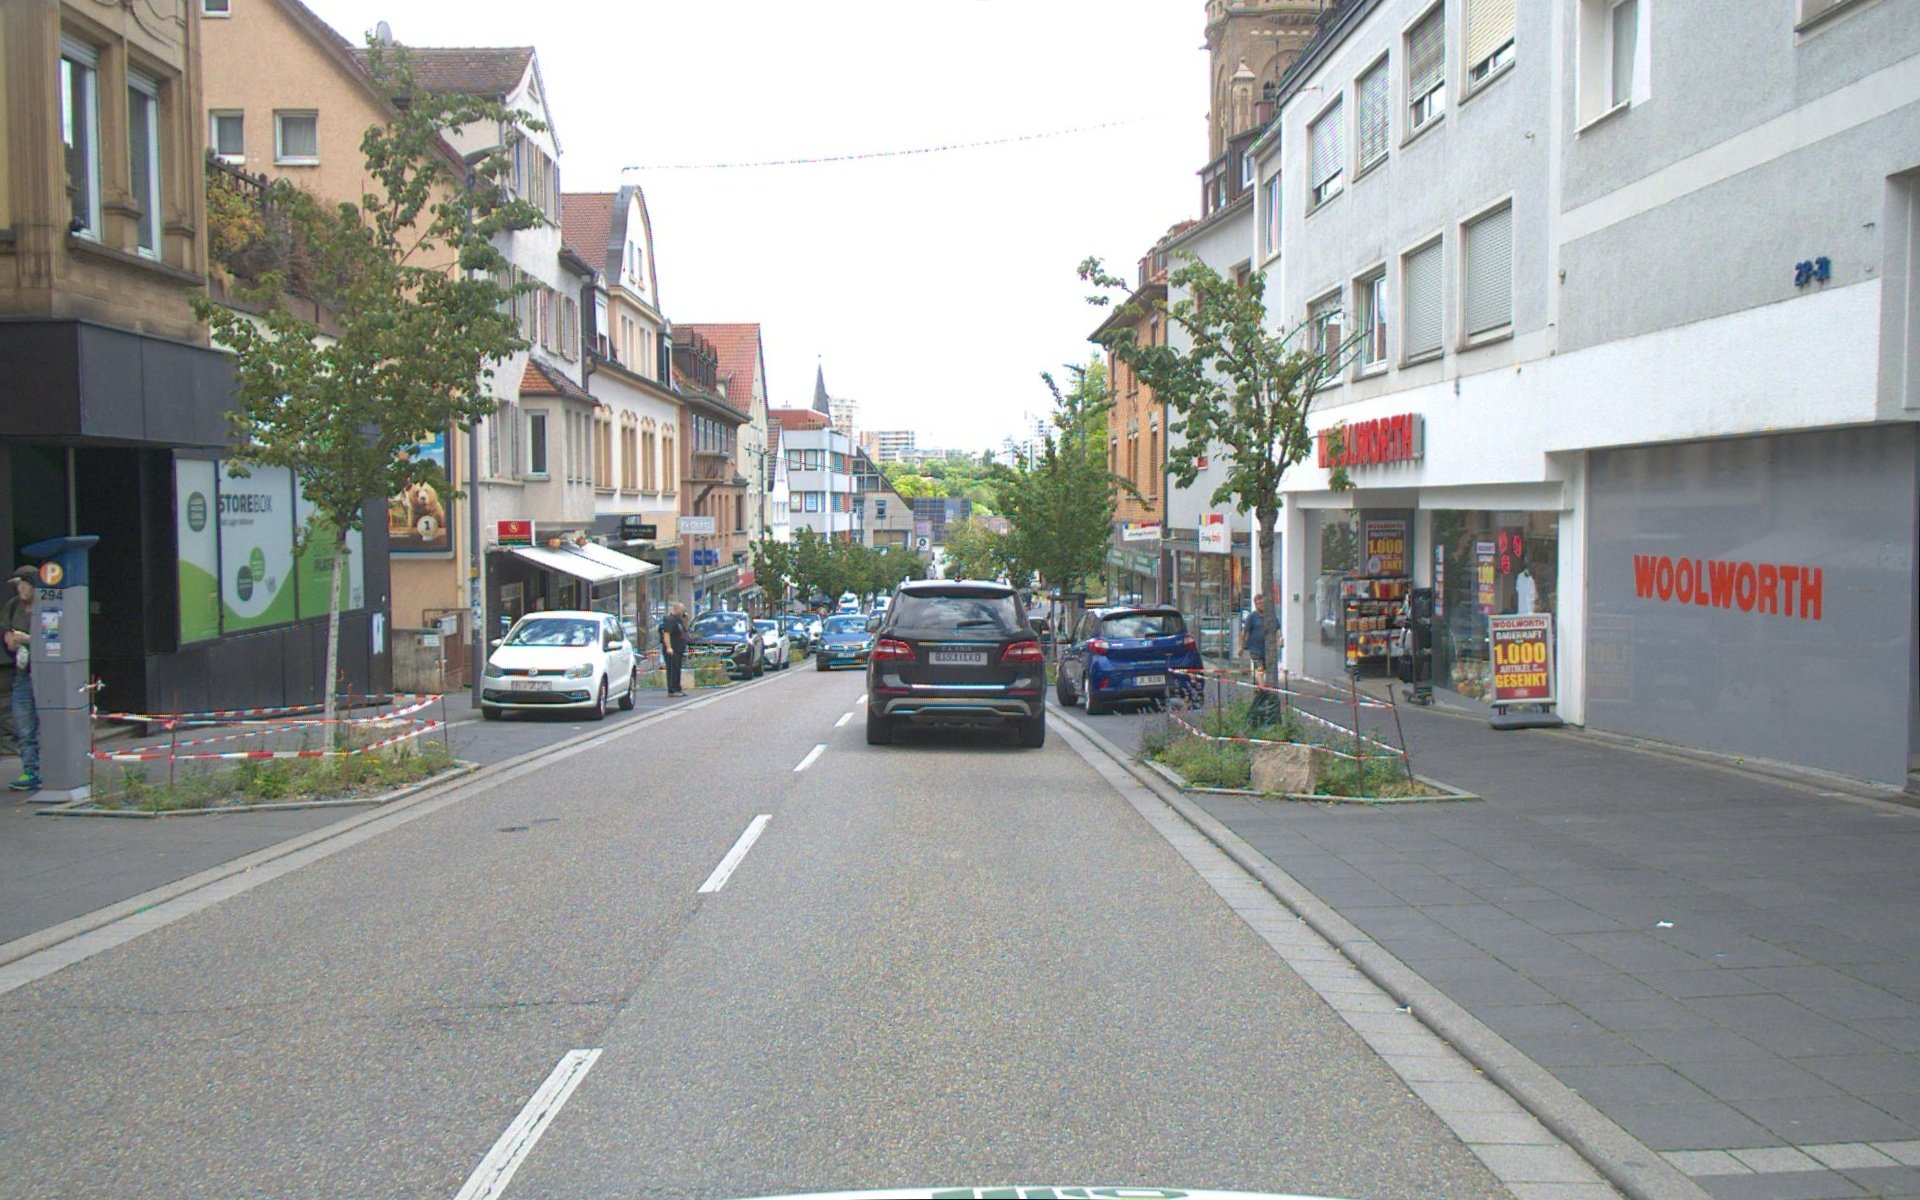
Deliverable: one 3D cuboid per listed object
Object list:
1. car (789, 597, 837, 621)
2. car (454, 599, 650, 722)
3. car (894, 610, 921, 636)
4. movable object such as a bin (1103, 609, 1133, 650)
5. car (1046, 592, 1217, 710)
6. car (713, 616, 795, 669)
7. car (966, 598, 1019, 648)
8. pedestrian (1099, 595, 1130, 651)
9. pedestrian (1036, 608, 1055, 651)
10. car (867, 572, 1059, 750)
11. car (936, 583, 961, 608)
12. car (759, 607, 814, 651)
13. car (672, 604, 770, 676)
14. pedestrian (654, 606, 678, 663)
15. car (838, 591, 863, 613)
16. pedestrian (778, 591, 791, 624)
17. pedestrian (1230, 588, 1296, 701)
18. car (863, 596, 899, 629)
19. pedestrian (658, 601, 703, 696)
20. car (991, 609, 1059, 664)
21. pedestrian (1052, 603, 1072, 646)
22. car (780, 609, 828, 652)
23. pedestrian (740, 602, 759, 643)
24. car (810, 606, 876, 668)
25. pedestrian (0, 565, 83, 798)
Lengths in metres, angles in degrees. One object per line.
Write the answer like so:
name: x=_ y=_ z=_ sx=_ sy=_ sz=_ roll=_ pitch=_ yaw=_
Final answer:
car: x=-12.204 y=0.724 z=137.474 sx=3.909 sy=1.780 sz=1.998 roll=-2 pitch=0 yaw=-5
car: x=-5.777 y=0.800 z=23.952 sx=1.888 sy=1.538 sz=4.260 roll=2 pitch=0 yaw=-2
car: x=-3.639 y=1.574 z=114.671 sx=1.729 sy=1.645 sz=4.031 roll=-3 pitch=1 yaw=-2
movable object such as a bin: x=4.667 y=0.861 z=48.849 sx=0.707 sy=1.178 sz=0.906 roll=-2 pitch=-1 yaw=-2
car: x=2.440 y=0.735 z=24.424 sx=1.715 sy=1.524 sz=3.795 roll=-3 pitch=-1 yaw=-6
car: x=-6.026 y=1.210 z=48.845 sx=1.887 sy=1.455 sz=4.261 roll=1 pitch=0 yaw=0
car: x=1.301 y=0.928 z=68.815 sx=1.899 sy=1.924 sz=4.705 roll=-2 pitch=0 yaw=-2
pedestrian: x=4.620 y=0.679 z=49.615 sx=0.720 sy=1.612 sz=1.000 roll=-3 pitch=-1 yaw=-2
pedestrian: x=3.420 y=1.182 z=66.152 sx=0.658 sy=1.661 sz=0.669 roll=-2 pitch=0 yaw=-4
car: x=0.007 y=0.586 z=18.648 sx=1.904 sy=1.770 sz=4.178 roll=1 pitch=1 yaw=-1
car: x=-1.125 y=-0.440 z=162.464 sx=2.128 sy=2.405 sz=4.624 roll=-1 pitch=0 yaw=3
car: x=-6.519 y=1.066 z=62.360 sx=1.888 sy=1.523 sz=4.258 roll=-1 pitch=0 yaw=-4
car: x=-5.881 y=0.959 z=41.172 sx=1.888 sy=1.650 sz=4.637 roll=1 pitch=-1 yaw=-2
pedestrian: x=-8.534 y=0.995 z=48.048 sx=0.536 sy=1.603 sz=0.863 roll=-1 pitch=0 yaw=-2
car: x=-8.608 y=0.167 z=130.214 sx=1.888 sy=1.657 sz=4.412 roll=2 pitch=0 yaw=-3
pedestrian: x=-8.933 y=0.381 z=84.270 sx=0.628 sy=1.697 sz=0.720 roll=0 pitch=-1 yaw=-2
pedestrian: x=4.371 y=0.632 z=23.883 sx=0.741 sy=1.588 sz=0.817 roll=-1 pitch=0 yaw=-4
car: x=-4.379 y=0.673 z=92.627 sx=1.952 sy=1.748 sz=4.445 roll=0 pitch=0 yaw=-2
pedestrian: x=-5.045 y=0.861 z=29.890 sx=0.723 sy=1.701 sz=0.862 roll=0 pitch=0 yaw=-4
car: x=1.970 y=1.091 z=51.177 sx=1.713 sy=1.491 sz=4.073 roll=-4 pitch=0 yaw=-2
pedestrian: x=4.098 y=0.985 z=66.417 sx=0.658 sy=1.661 sz=0.669 roll=-2 pitch=0 yaw=-4
car: x=-6.565 y=1.255 z=69.857 sx=1.889 sy=1.623 sz=4.454 roll=2 pitch=0 yaw=-4
pedestrian: x=-8.921 y=0.943 z=69.995 sx=0.712 sy=1.697 sz=0.720 roll=0 pitch=-1 yaw=-2
car: x=-3.362 y=1.057 z=48.087 sx=1.783 sy=1.646 sz=4.133 roll=-2 pitch=-1 yaw=-3
pedestrian: x=-7.268 y=0.605 z=12.771 sx=0.575 sy=1.743 sz=0.710 roll=2 pitch=0 yaw=-1
